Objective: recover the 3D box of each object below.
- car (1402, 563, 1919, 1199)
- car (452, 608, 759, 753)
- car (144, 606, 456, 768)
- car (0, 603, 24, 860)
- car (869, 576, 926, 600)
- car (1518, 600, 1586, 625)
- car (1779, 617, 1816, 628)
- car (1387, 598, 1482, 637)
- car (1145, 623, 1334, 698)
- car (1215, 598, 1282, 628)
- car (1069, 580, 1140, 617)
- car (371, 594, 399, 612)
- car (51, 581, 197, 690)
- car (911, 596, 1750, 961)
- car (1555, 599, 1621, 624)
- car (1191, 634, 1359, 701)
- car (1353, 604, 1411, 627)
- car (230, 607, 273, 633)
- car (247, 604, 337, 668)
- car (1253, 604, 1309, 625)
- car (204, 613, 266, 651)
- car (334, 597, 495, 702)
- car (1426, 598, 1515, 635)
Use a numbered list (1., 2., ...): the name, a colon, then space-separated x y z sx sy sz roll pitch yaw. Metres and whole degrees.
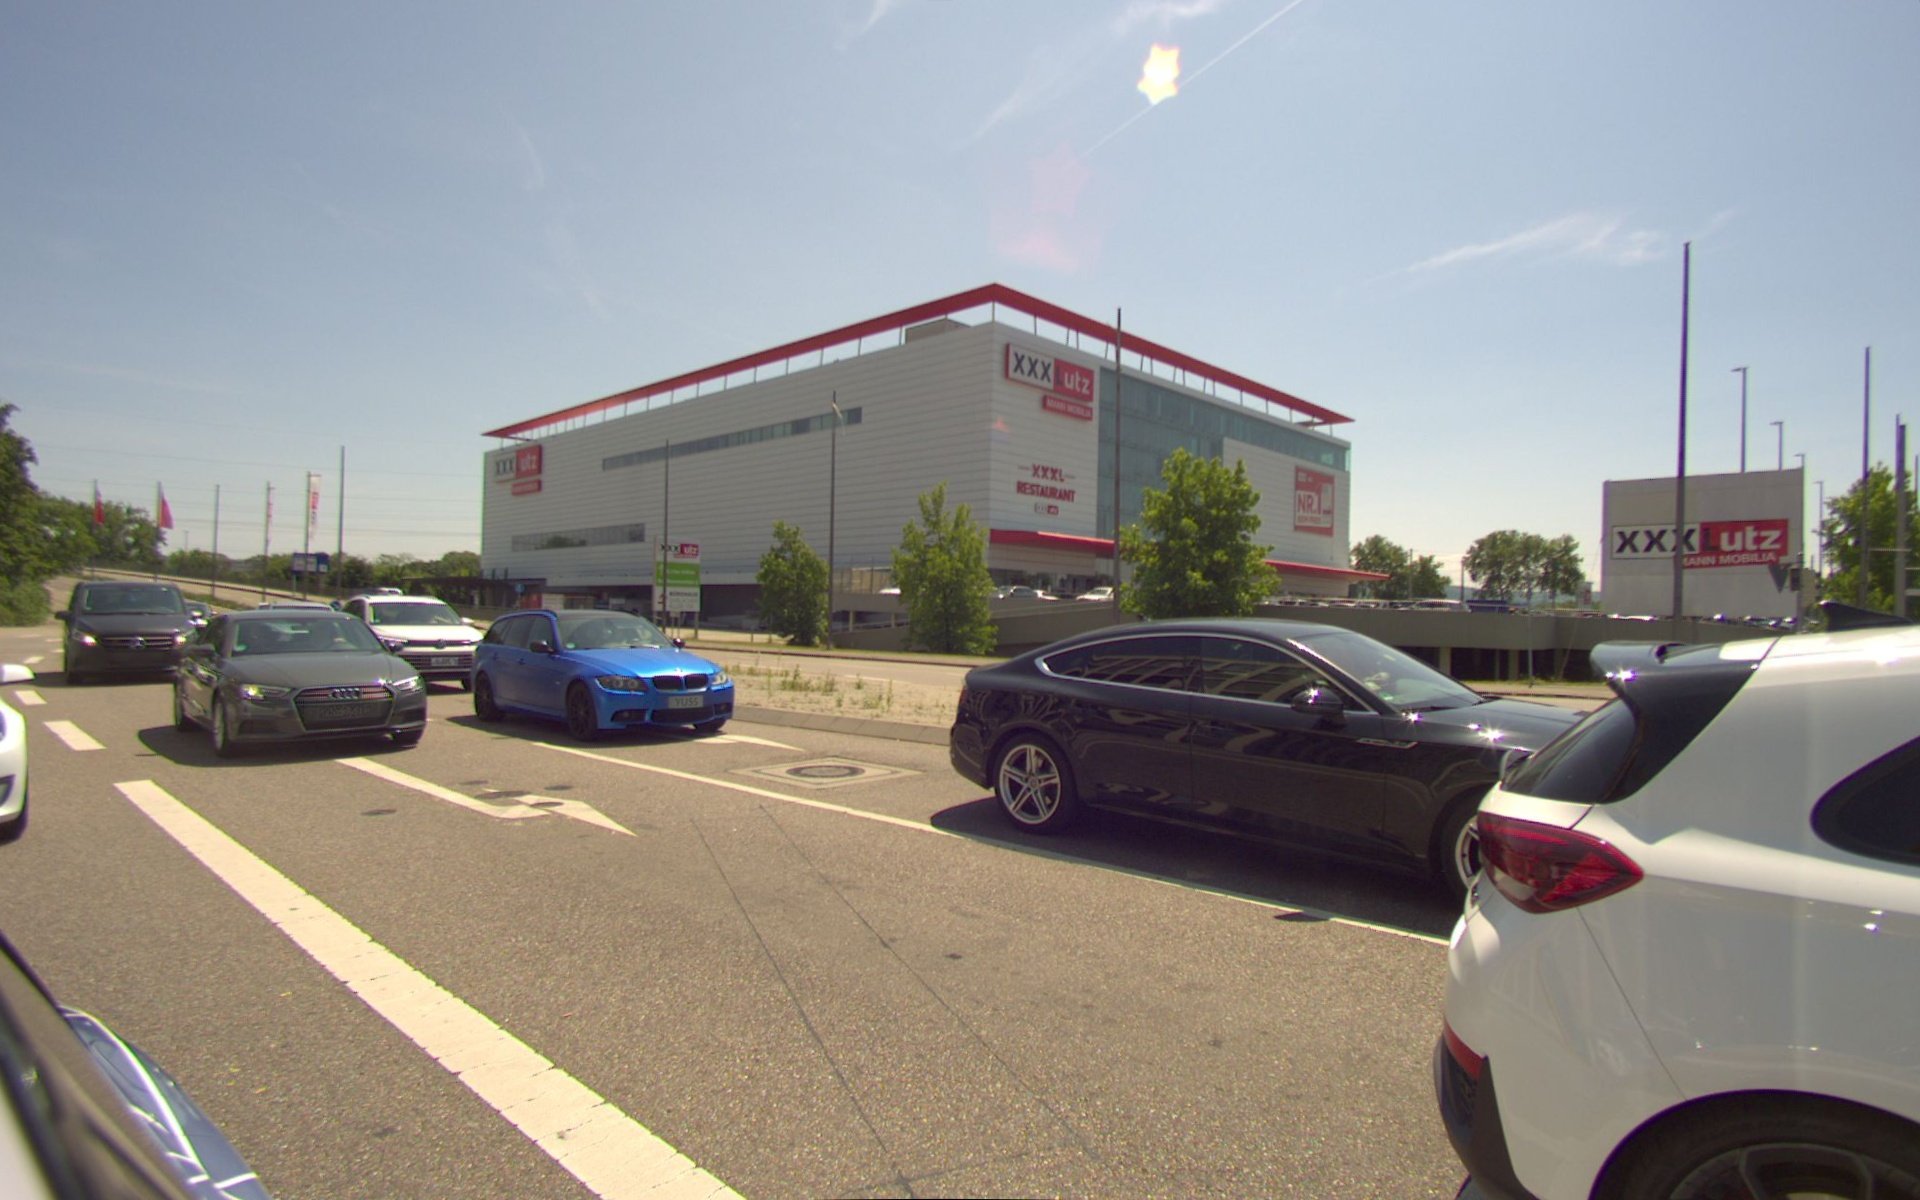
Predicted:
1. car: 2.975 0.667 1.312 4.070 1.447 1.768 0 0 43
2. car: -4.457 0.826 12.335 4.433 1.413 1.745 0 0 44
3. car: -7.156 0.783 10.808 4.088 1.393 1.746 0 -2 41
4. car: -7.532 0.749 6.568 4.284 1.447 1.799 0 0 43
5. car: -4.426 -0.803 71.559 1.717 1.519 3.944 0 -2 42
6. car: 43.953 0.920 75.186 4.135 1.754 1.758 0 -1 43
7. car: 121.859 3.294 147.276 3.999 1.433 1.678 1 -1 34
8. car: 25.705 0.919 54.858 4.325 2.029 1.974 0 -1 39
9. car: 6.767 1.403 24.684 4.000 1.608 1.972 0 -2 43
10. car: 20.190 0.884 70.904 4.135 2.029 1.758 0 -1 43
11. car: 8.522 -0.057 59.536 4.405 2.029 1.681 2 -2 -42
12. car: -79.327 0.426 139.699 2.161 2.300 4.816 2 -2 -45
13. car: -16.148 0.604 19.460 1.868 1.835 4.842 1 0 -43
14. car: 1.841 0.749 6.100 4.467 1.415 1.653 -1 -2 43
15. car: 51.659 0.955 83.240 4.330 2.029 1.972 0 -2 43
16. car: 7.259 1.512 23.362 3.424 1.374 1.604 0 -2 31
17. car: 35.033 1.280 83.991 4.001 1.915 1.971 0 -2 44
18. car: -42.975 1.189 61.354 1.700 1.483 4.006 2 -2 -41
19. car: -16.474 0.845 24.917 1.741 1.433 3.909 0 -1 -35
20. car: 26.924 1.221 84.892 4.135 1.694 1.758 0 -1 43
21. car: -29.101 1.248 40.706 1.581 1.450 3.744 2 -2 -29
22. car: -9.909 0.781 18.197 1.742 1.653 4.499 0 0 -39
23. car: 29.679 0.943 58.843 4.325 2.029 1.974 0 -1 39
